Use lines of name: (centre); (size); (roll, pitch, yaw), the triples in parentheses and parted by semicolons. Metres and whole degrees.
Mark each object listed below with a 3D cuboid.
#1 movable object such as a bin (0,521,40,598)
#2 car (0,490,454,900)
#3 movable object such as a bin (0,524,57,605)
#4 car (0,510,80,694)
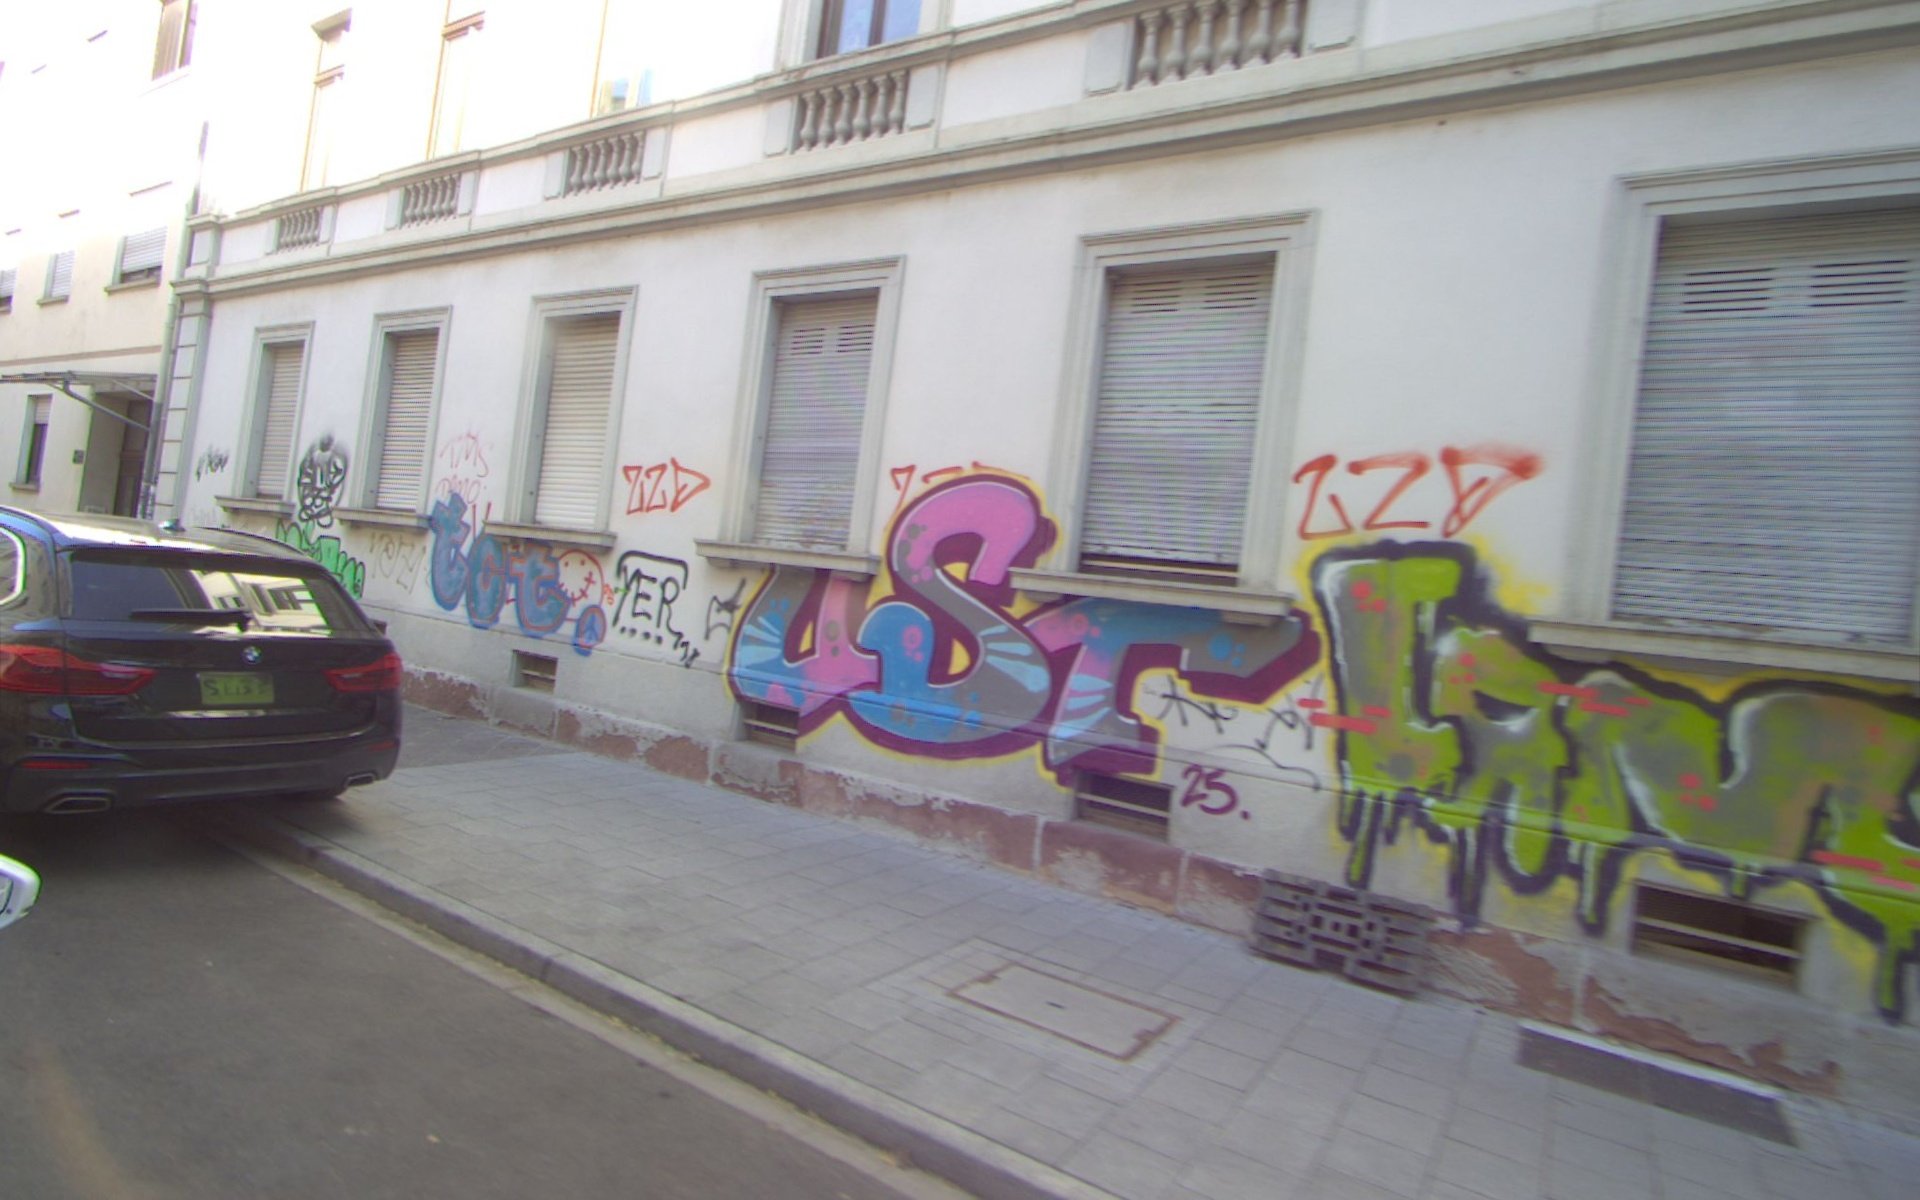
movable object such as a bin: (-14.245, -0.616, 15.013); (0.544, 1.084, 0.577); (7, 0, 35)
car: (-5.140, 0.236, 5.656); (4.650, 1.536, 1.820); (7, -4, 32)
movable object such as a bin: (-13.652, -0.518, 14.632); (0.544, 1.084, 0.577); (7, 0, 35)
car: (-9.667, -0.241, 8.854); (3.806, 1.464, 1.751); (7, -4, 32)
